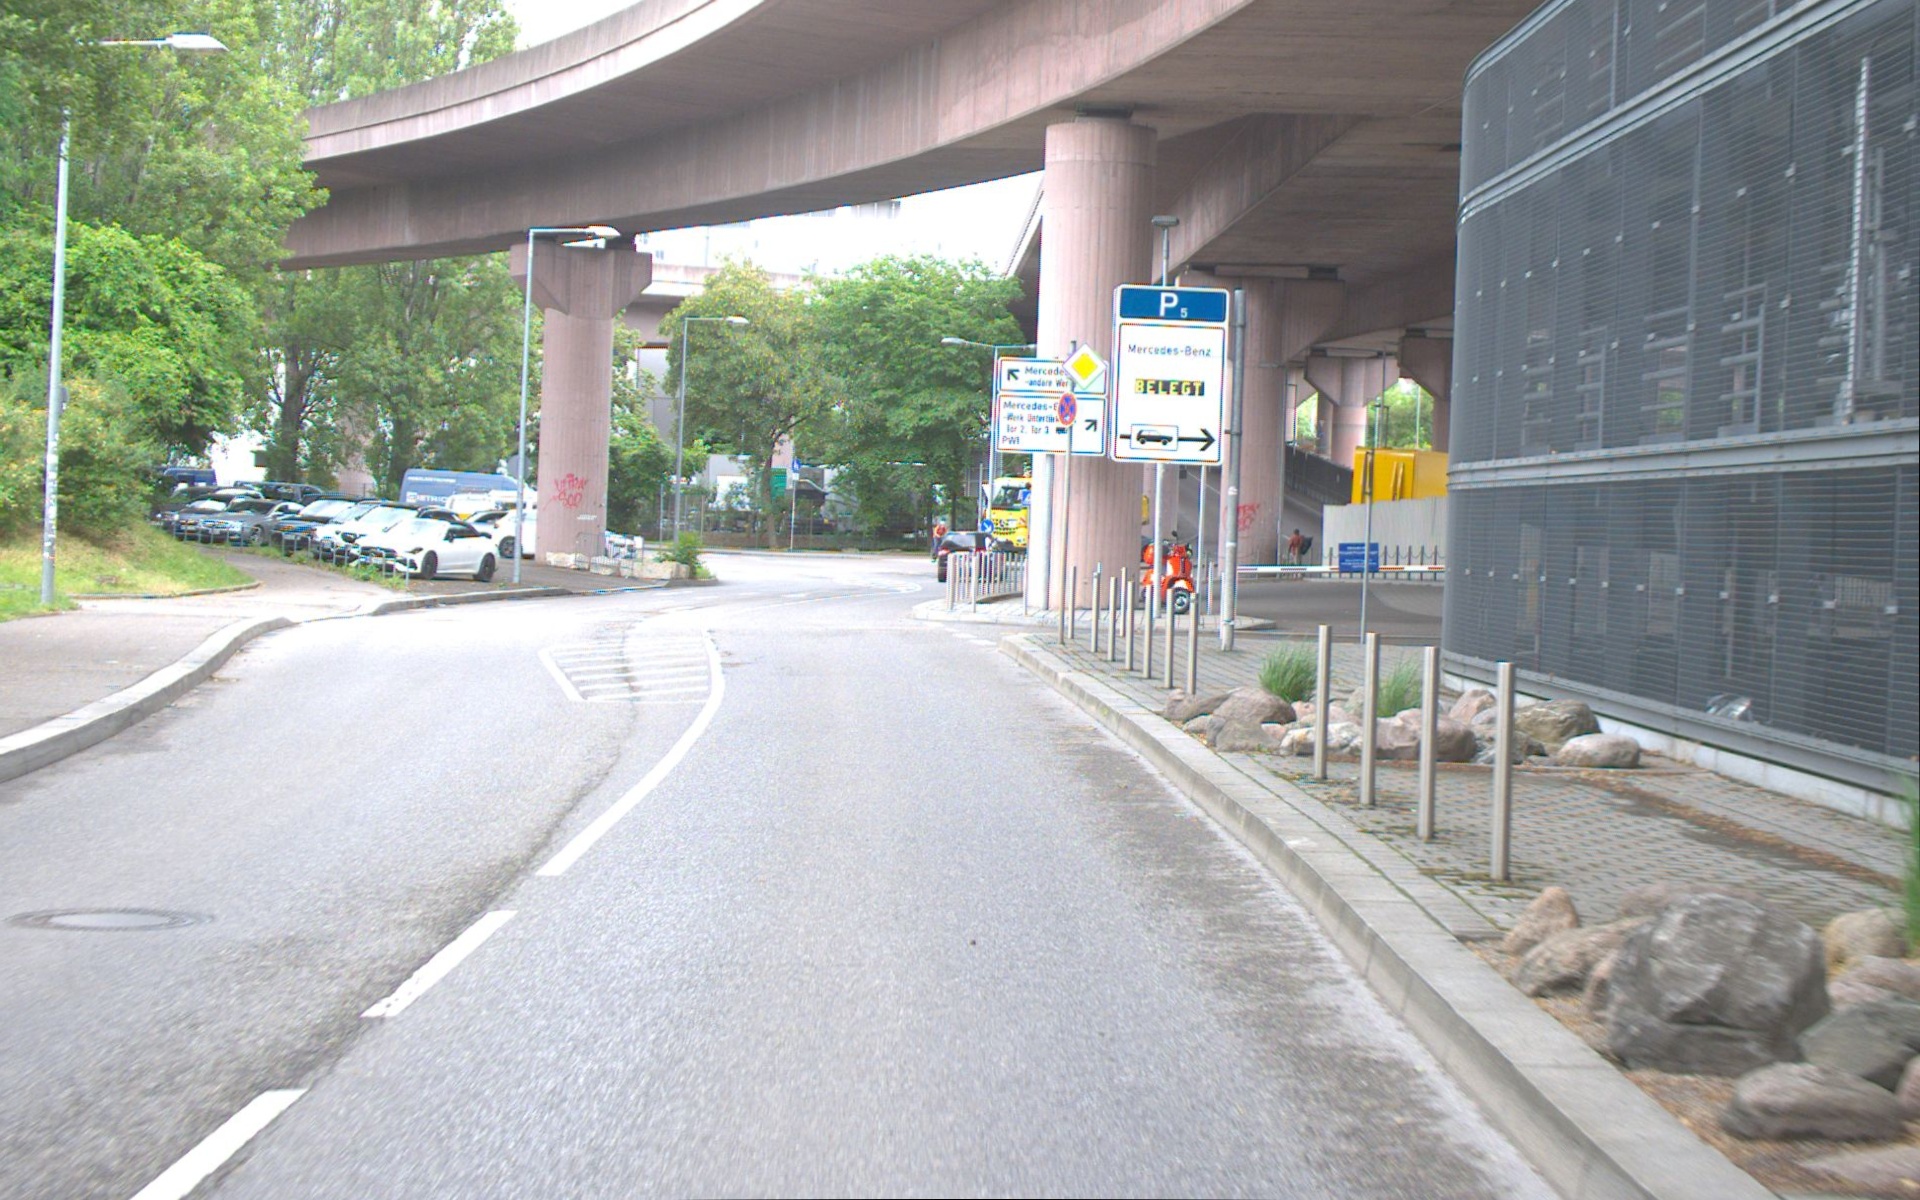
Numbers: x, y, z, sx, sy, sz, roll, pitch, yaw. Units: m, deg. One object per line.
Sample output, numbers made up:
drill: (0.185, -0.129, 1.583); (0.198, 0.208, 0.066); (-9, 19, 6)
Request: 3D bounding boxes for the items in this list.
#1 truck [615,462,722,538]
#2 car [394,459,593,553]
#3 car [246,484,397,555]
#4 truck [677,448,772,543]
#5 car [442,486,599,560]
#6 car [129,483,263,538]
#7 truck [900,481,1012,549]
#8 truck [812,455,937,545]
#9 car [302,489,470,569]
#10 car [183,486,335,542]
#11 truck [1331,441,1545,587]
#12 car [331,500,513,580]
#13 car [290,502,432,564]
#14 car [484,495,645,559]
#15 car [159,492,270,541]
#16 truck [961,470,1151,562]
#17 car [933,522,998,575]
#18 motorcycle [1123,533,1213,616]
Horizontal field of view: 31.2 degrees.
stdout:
truck: (-15.261, -5.234, 179.432); (3.054, 3.606, 7.918); (1, 3, -24)
car: (-15.330, -3.104, 113.206); (6.174, 2.715, 2.368); (3, 2, -2)
car: (-16.703, -2.089, 90.119); (1.859, 1.685, 4.159); (3, 1, 23)
truck: (-12.596, -5.593, 183.169); (3.202, 4.763, 8.052); (0, 3, -17)
car: (-14.062, -2.469, 110.066); (4.557, 2.104, 1.850); (3, 1, 7)
car: (-23.594, -2.755, 106.267); (1.897, 1.670, 4.149); (1, 2, 25)
truck: (-0.210, -3.993, 160.198); (2.914, 2.888, 6.561); (0, 3, -22)
truck: (-4.011, -4.653, 159.077); (3.065, 3.854, 8.051); (0, 3, -22)
car: (-13.932, -1.706, 83.745); (1.996, 1.577, 4.395); (7, 1, 20)
car: (-20.389, -2.492, 100.198); (1.859, 1.482, 4.883); (5, 3, 23)
truck: (17.210, -3.037, 123.248); (3.145, 4.900, 8.696); (3, 2, 41)
car: (-12.449, -1.373, 79.892); (1.996, 1.474, 4.823); (6, 1, 19)
car: (-15.193, -1.691, 87.357); (1.789, 1.449, 3.742); (3, 1, 22)
car: (-11.999, -2.213, 104.365); (4.383, 1.600, 1.953); (5, 2, 12)
car: (-22.253, -2.488, 102.738); (1.645, 1.436, 3.732); (1, 1, 17)
truck: (4.011, -3.531, 142.023); (2.935, 3.468, 8.224); (7, 7, 44)
car: (0.162, -1.756, 115.850); (1.993, 1.673, 4.561); (2, 1, -2)
motorcycle: (3.561, -0.446, 59.184); (0.795, 1.362, 2.130); (0, 2, -18)
